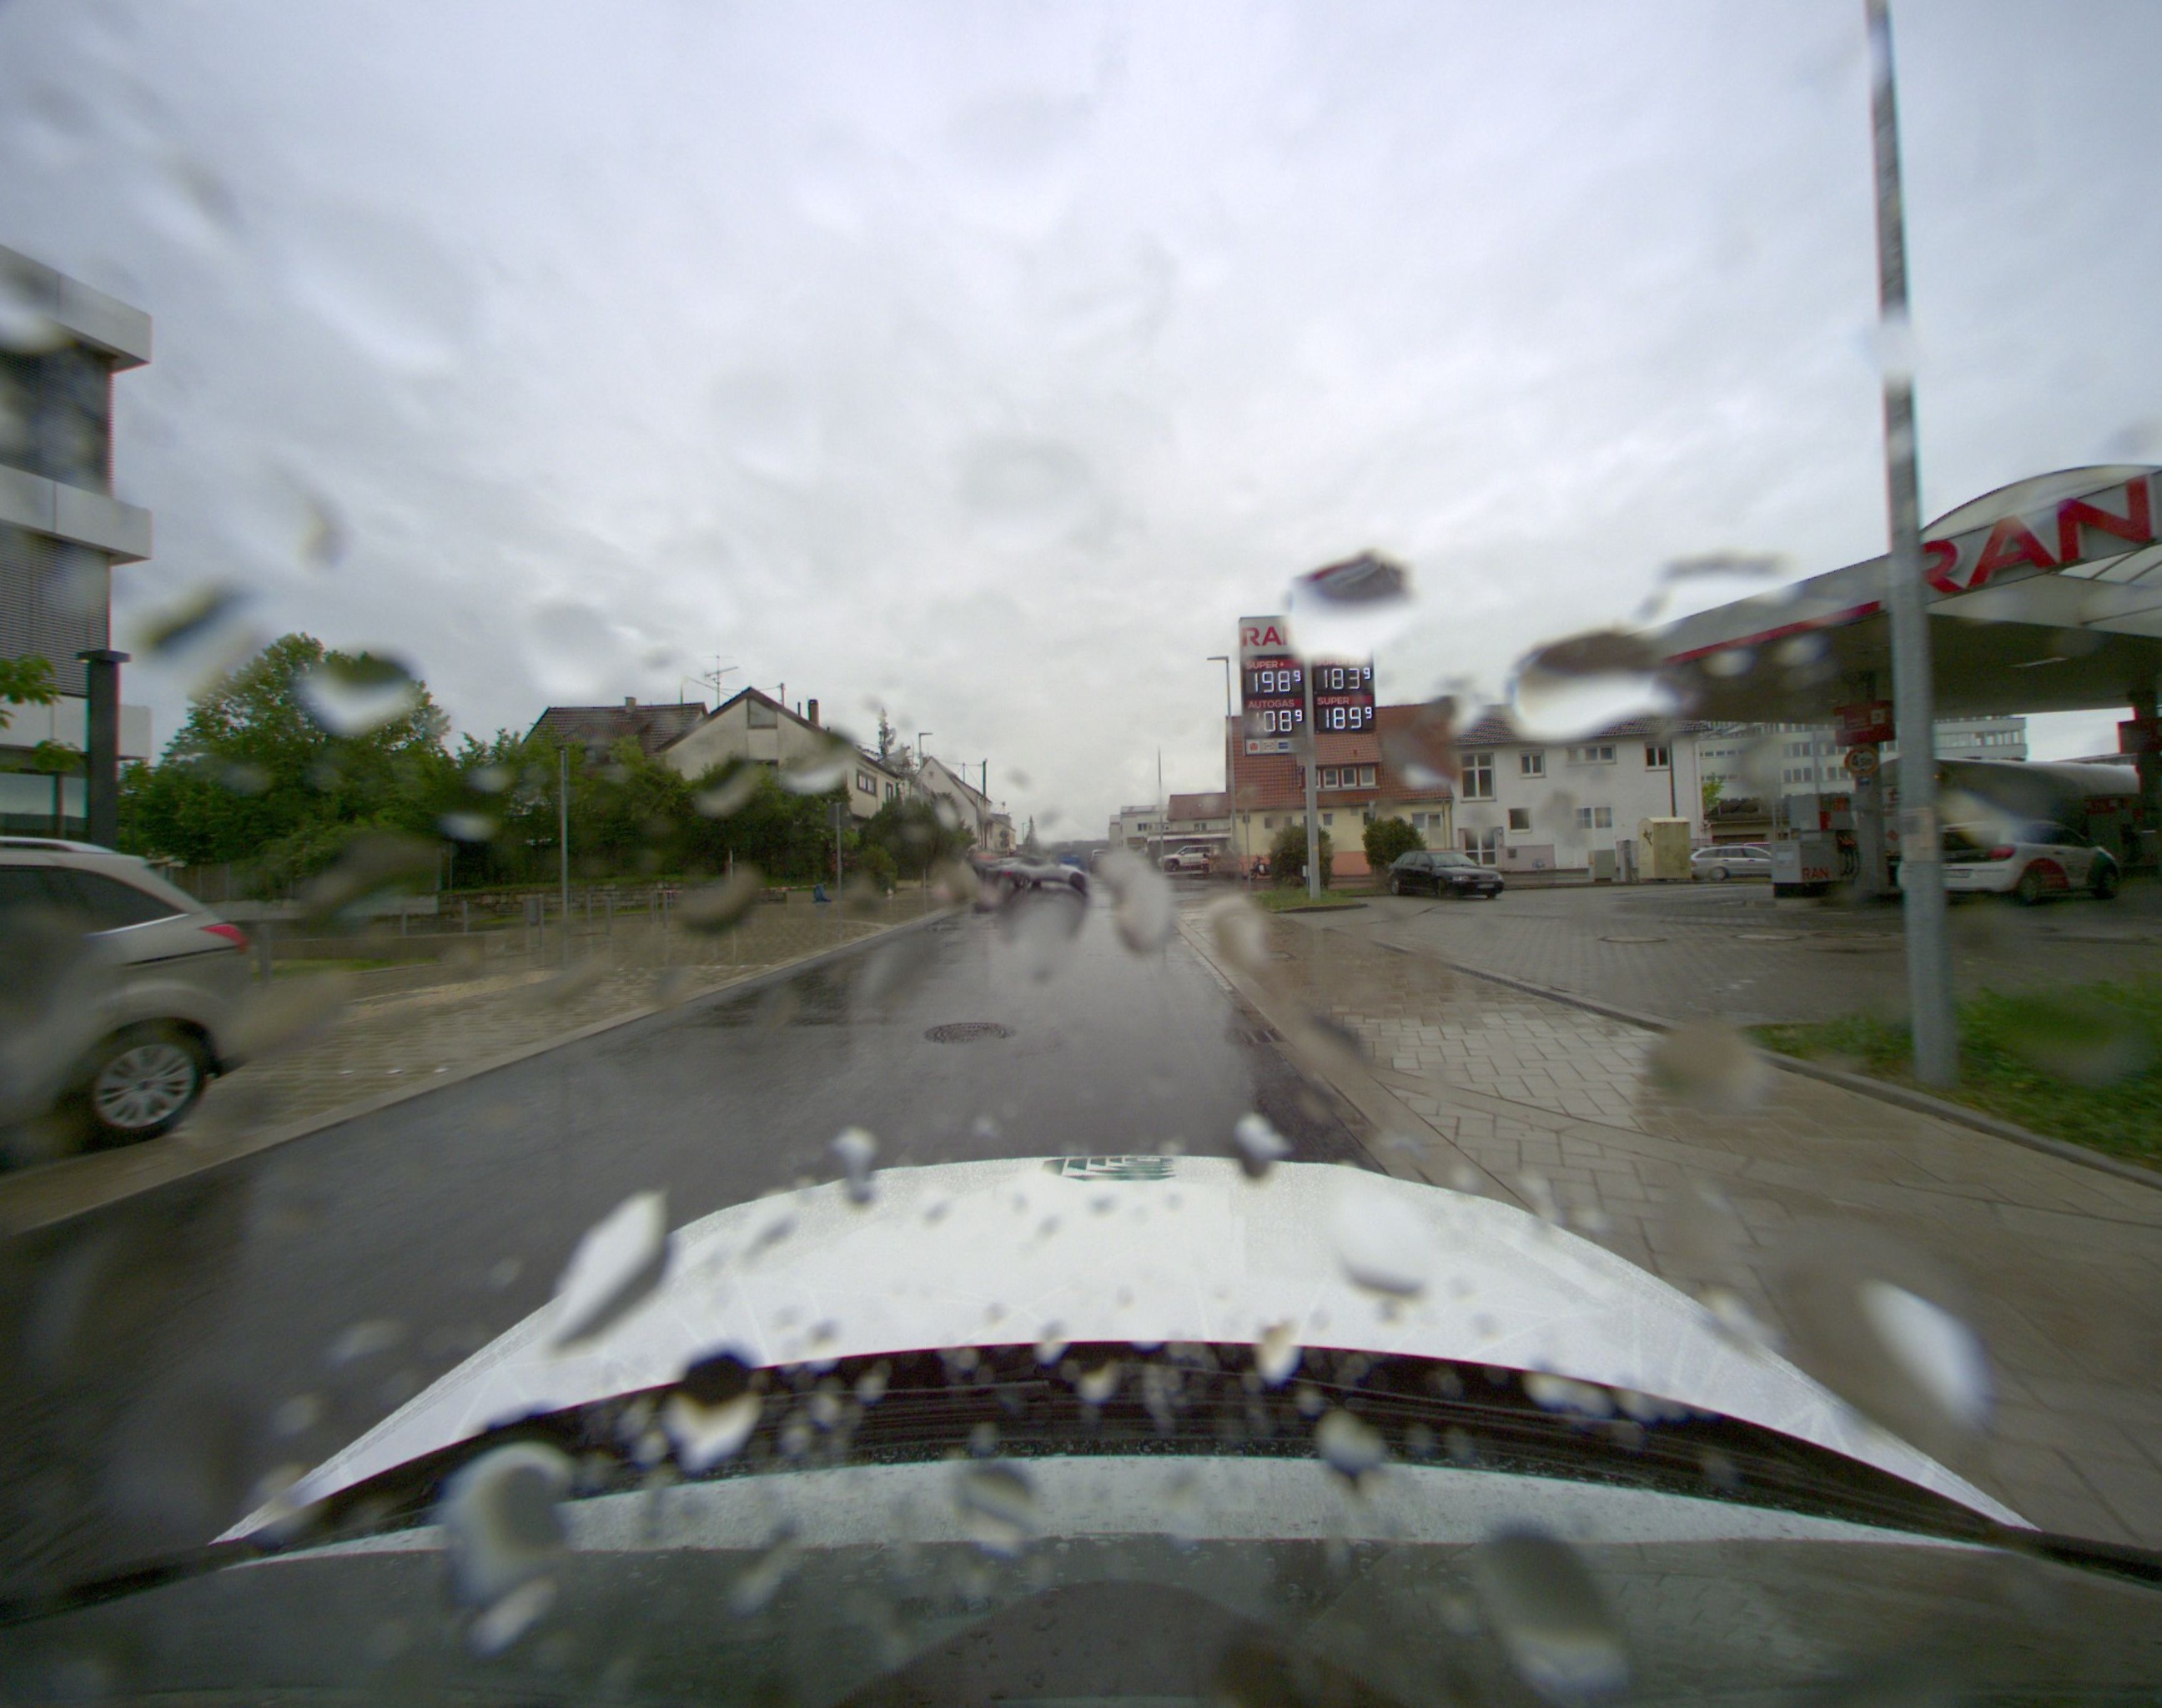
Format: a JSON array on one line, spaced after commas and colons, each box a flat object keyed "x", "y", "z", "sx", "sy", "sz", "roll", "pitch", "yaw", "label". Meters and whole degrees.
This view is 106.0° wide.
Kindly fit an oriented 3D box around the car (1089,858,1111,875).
[{"x": 1.576, "y": 1.039, "z": 68.482, "sx": 1.763, "sy": 1.336, "sz": 4.320, "roll": -1, "pitch": 0, "yaw": 0, "label": "car"}]

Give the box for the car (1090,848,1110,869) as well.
[{"x": 1.717, "y": 0.429, "z": 75.284, "sx": 1.763, "sy": 1.825, "sz": 4.574, "roll": -1, "pitch": 0, "yaw": 0, "label": "car"}]

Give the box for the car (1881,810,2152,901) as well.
[{"x": 17.029, "y": 0.003, "z": 14.861, "sx": 3.996, "sy": 1.427, "sz": 1.766, "roll": -2, "pitch": 0, "yaw": -17, "label": "car"}]

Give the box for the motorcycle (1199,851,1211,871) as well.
[{"x": 7.065, "y": 0.381, "z": 46.358, "sx": 0.485, "sy": 1.096, "sz": 2.003, "roll": -1, "pitch": 1, "yaw": 5, "label": "motorcycle"}]

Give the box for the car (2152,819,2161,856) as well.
[{"x": 49.623, "y": -0.779, "z": 34.915, "sx": 4.152, "sy": 1.589, "sz": 2.008, "roll": -2, "pitch": 1, "yaw": 15, "label": "car"}]

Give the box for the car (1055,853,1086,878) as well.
[{"x": -0.629, "y": 0.722, "z": 53.138, "sx": 1.922, "sy": 1.539, "sz": 4.320, "roll": -1, "pitch": 0, "yaw": 0, "label": "car"}]

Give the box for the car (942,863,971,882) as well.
[{"x": -10.416, "y": 1.528, "z": 68.445, "sx": 1.772, "sy": 1.467, "sz": 3.457, "roll": -2, "pitch": -1, "yaw": 1, "label": "car"}]

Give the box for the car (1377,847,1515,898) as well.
[{"x": 10.775, "y": 0.516, "z": 24.444, "sx": 1.688, "sy": 1.339, "sz": 4.326, "roll": -2, "pitch": 0, "yaw": -9, "label": "car"}]

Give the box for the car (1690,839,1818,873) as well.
[{"x": 31.856, "y": 0.095, "z": 38.687, "sx": 4.219, "sy": 1.376, "sz": 2.006, "roll": -3, "pitch": 0, "yaw": 10, "label": "car"}]

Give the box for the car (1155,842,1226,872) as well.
[{"x": 7.012, "y": 0.171, "z": 52.308, "sx": 4.205, "sy": 1.610, "sz": 1.860, "roll": -4, "pitch": -1, "yaw": -2, "label": "car"}]

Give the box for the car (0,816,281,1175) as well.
[{"x": -6.094, "y": 0.698, "z": 3.016, "sx": 1.830, "sy": 1.706, "sz": 4.326, "roll": -2, "pitch": 0, "yaw": 2, "label": "car"}]

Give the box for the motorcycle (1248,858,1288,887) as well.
[{"x": 9.892, "y": 0.979, "z": 43.019, "sx": 2.019, "sy": 1.456, "sz": 0.491, "roll": -2, "pitch": -1, "yaw": 13, "label": "motorcycle"}]

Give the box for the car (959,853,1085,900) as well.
[{"x": -2.037, "y": 0.772, "z": 29.552, "sx": 1.974, "sy": 1.502, "sz": 4.700, "roll": -2, "pitch": 0, "yaw": 36, "label": "car"}]

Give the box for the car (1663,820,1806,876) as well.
[{"x": 26.064, "y": -0.220, "z": 32.613, "sx": 3.968, "sy": 2.013, "sz": 2.003, "roll": -2, "pitch": 0, "yaw": 5, "label": "car"}]

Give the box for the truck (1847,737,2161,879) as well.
[{"x": 27.860, "y": -1.284, "z": 22.571, "sx": 14.394, "sy": 3.359, "sz": 2.634, "roll": -1, "pitch": 2, "yaw": -16, "label": "truck"}]
